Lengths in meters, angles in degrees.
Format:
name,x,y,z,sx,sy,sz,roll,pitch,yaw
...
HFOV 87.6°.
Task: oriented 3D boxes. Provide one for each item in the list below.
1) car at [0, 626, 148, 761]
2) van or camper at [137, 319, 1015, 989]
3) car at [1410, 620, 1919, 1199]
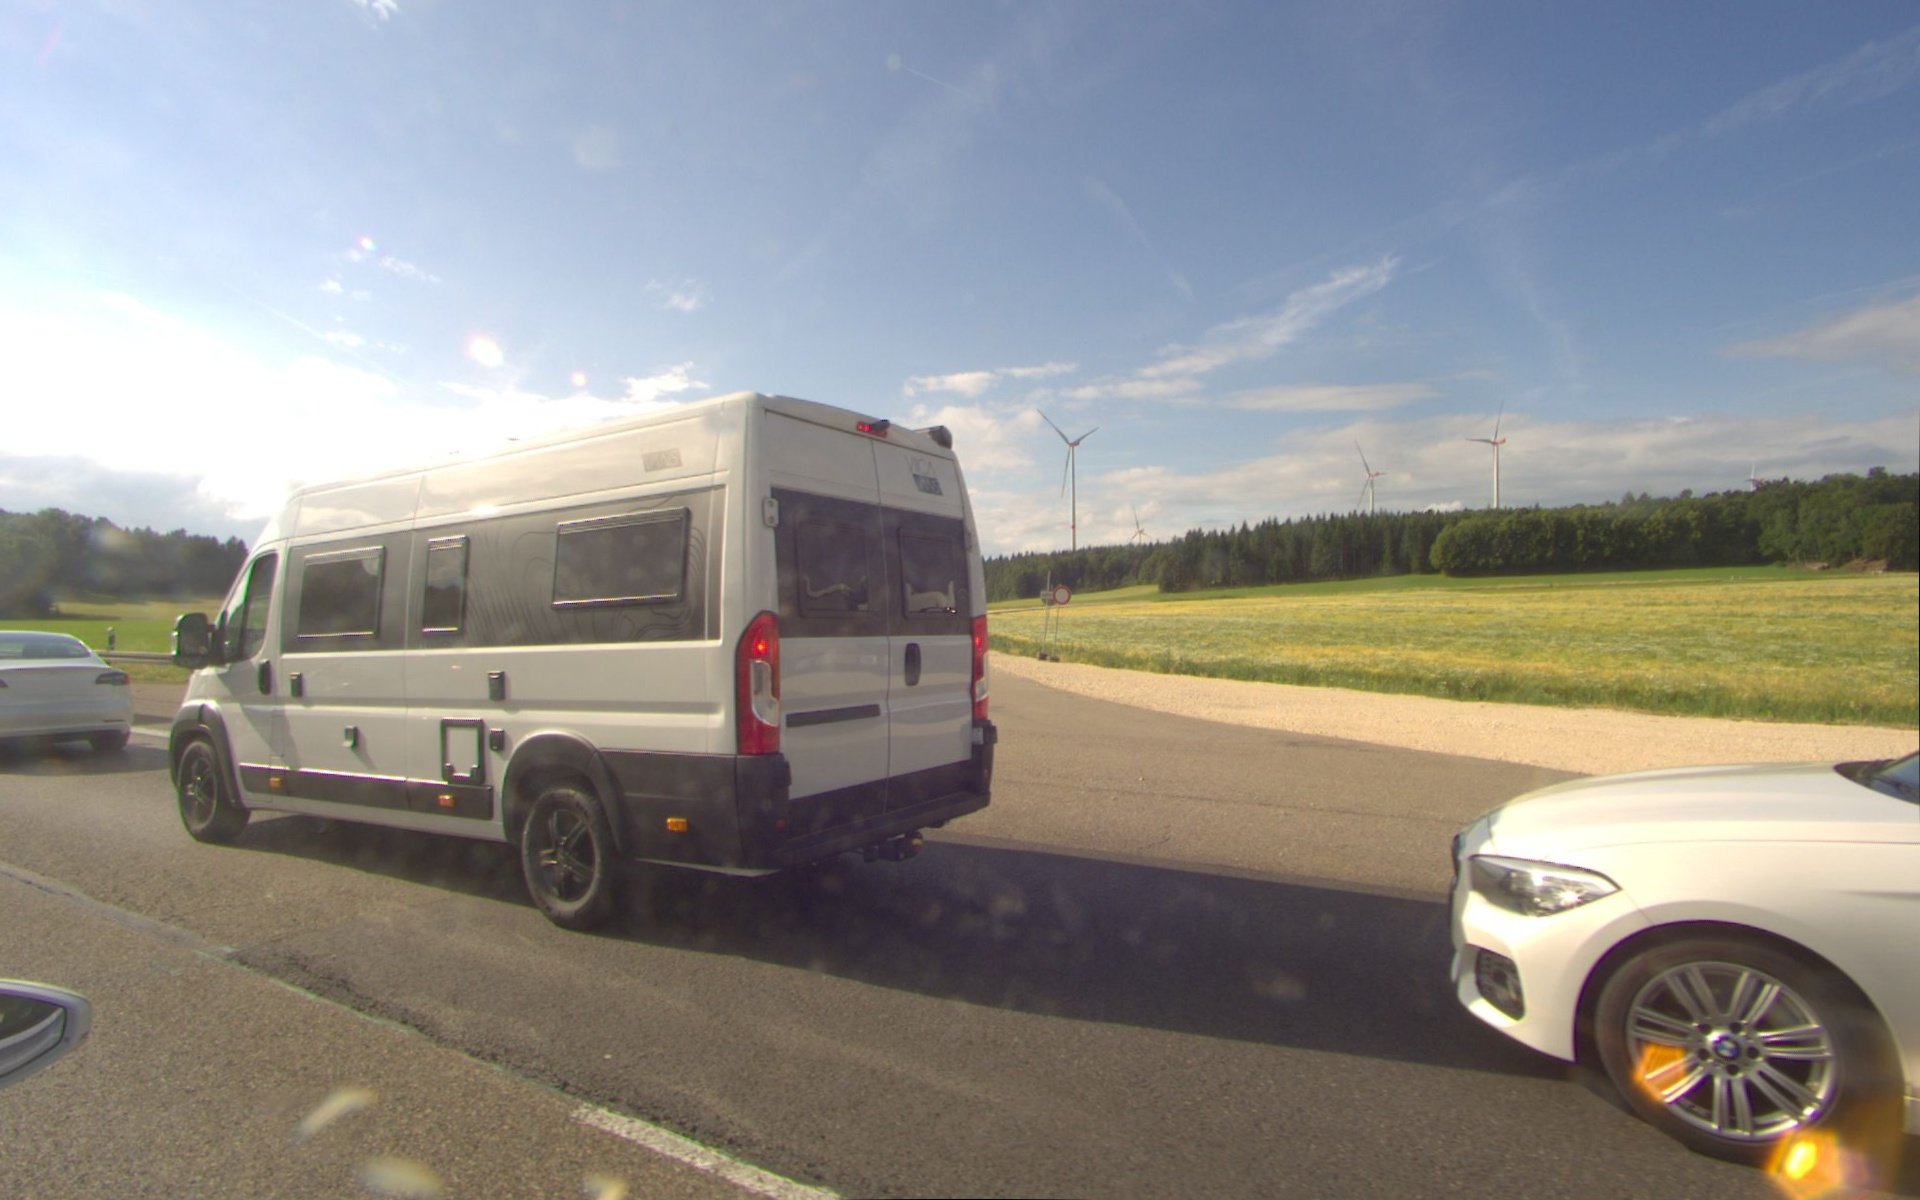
name,x,y,z,sx,sy,sz,roll,pitch,yaw
car,-11.878,1.032,12.157,4.372,1.412,1.786,-1,-1,31
van or camper,-2.890,0.281,6.678,6.242,2.716,2.211,-1,-1,32
car,3.599,0.794,2.727,4.170,1.450,1.701,-1,-2,31
